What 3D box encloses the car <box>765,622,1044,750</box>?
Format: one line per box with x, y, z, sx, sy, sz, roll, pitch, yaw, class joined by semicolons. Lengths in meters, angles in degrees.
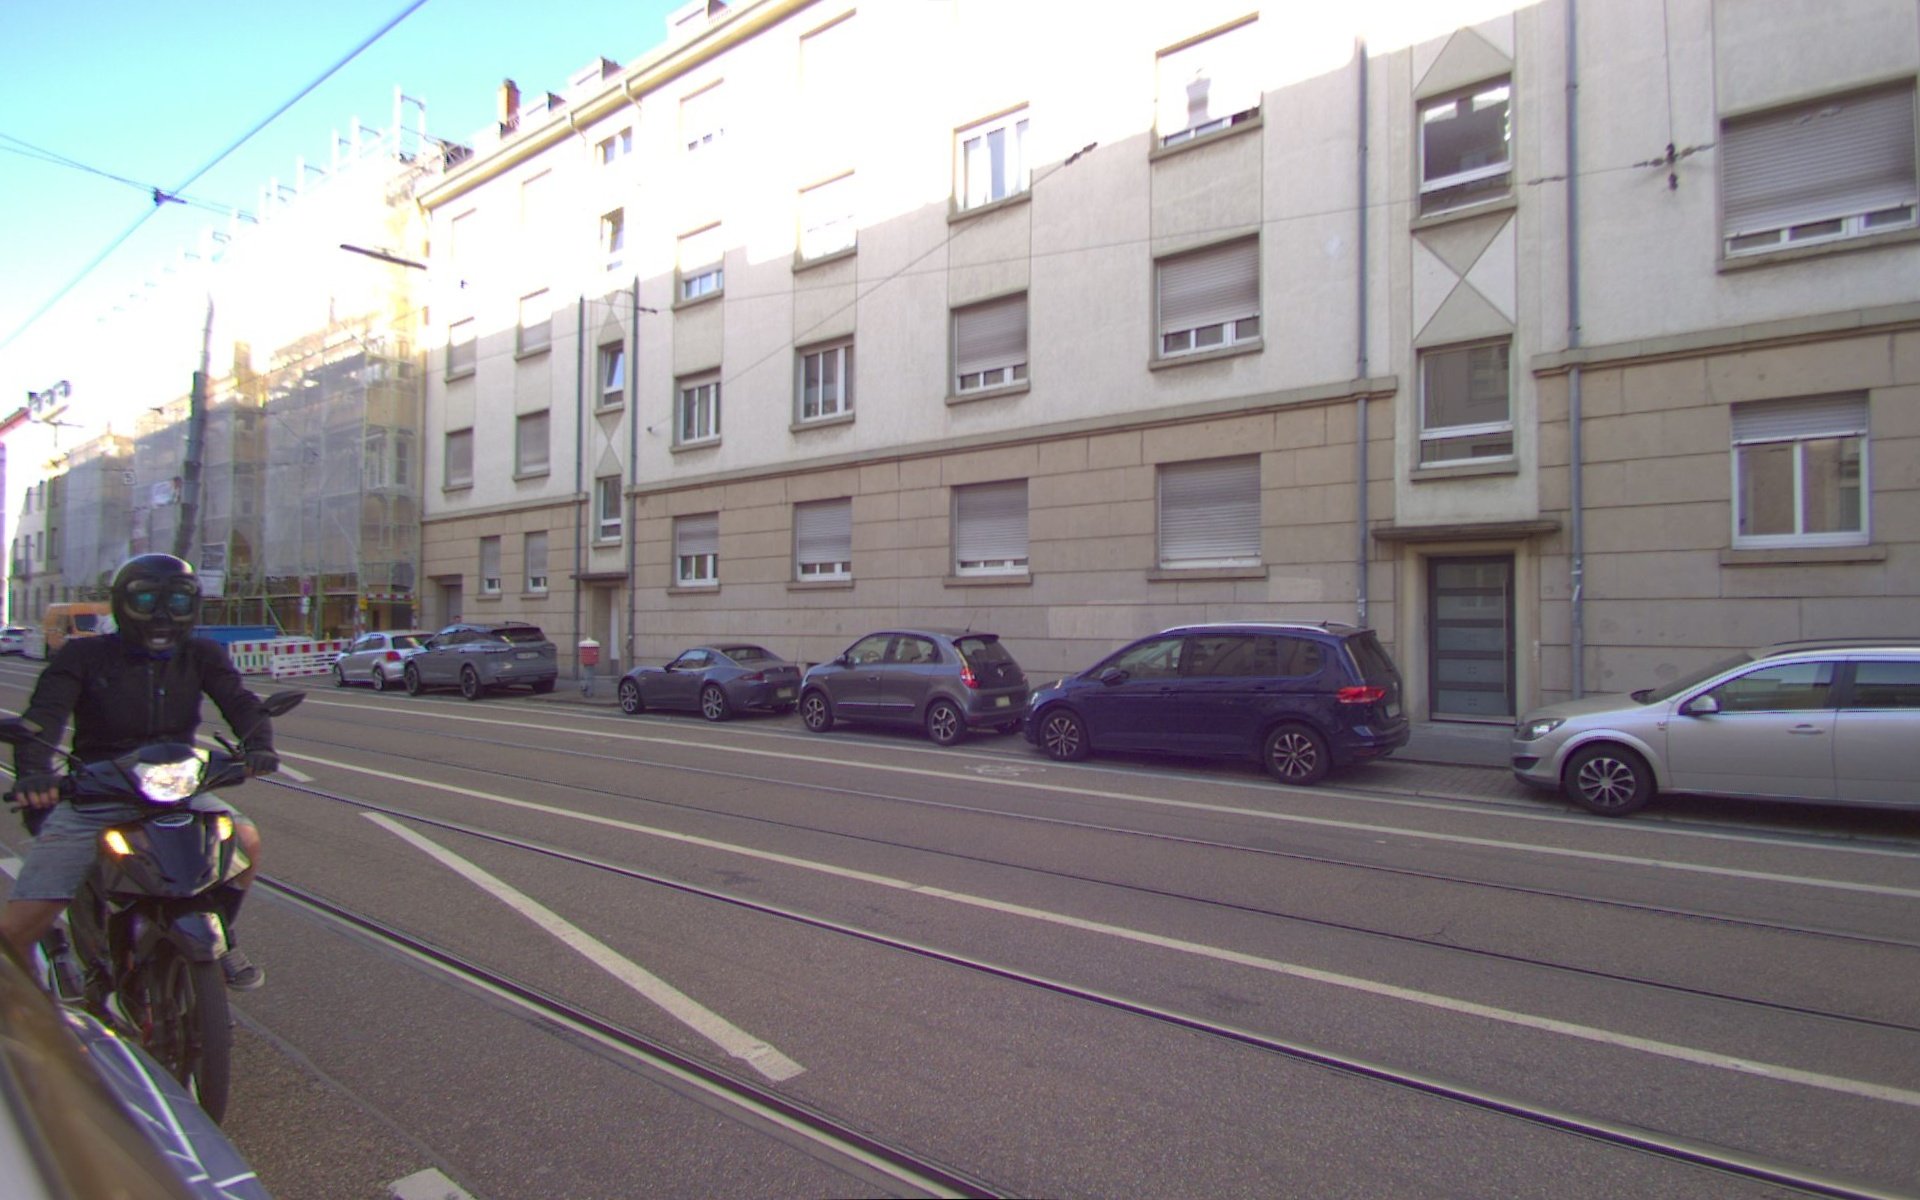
-0.897;1.139;14.837;3.995;1.581;1.683;-1;0;39;car

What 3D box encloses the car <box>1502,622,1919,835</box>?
7.115;0.968;8.427;4.380;1.521;1.683;-1;0;38;car

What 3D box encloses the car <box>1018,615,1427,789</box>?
2.880;0.995;11.603;4.237;1.627;1.683;-1;0;38;car

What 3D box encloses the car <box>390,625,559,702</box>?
-10.964;1.360;22.747;4.400;1.580;1.683;-1;-3;39;car

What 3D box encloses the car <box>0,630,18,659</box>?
-54.824;2.495;57.130;4.216;1.590;1.682;-1;-1;37;car

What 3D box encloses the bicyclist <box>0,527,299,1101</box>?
-2.789;0.601;3.268;0.849;1.566;0.833;-2;-3;38;bicyclist

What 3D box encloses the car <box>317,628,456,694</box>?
-14.572;1.492;25.639;3.995;1.426;1.683;-1;1;39;car

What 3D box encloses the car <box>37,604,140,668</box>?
-36.325;1.516;42.131;5.993;2.488;2.099;-2;-3;39;car

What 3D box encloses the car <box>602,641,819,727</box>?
-4.404;1.383;17.653;3.779;1.225;1.684;-1;0;37;car

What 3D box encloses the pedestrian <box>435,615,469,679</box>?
-13.700;1.260;27.274;0.716;1.707;0.575;-2;-1;38;pedestrian

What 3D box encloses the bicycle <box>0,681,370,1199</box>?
-2.709;0.894;3.215;1.971;1.186;0.731;-1;-3;38;bicycle

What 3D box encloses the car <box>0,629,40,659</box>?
-50.071;2.318;53.289;3.995;1.523;1.729;-1;-3;39;car
